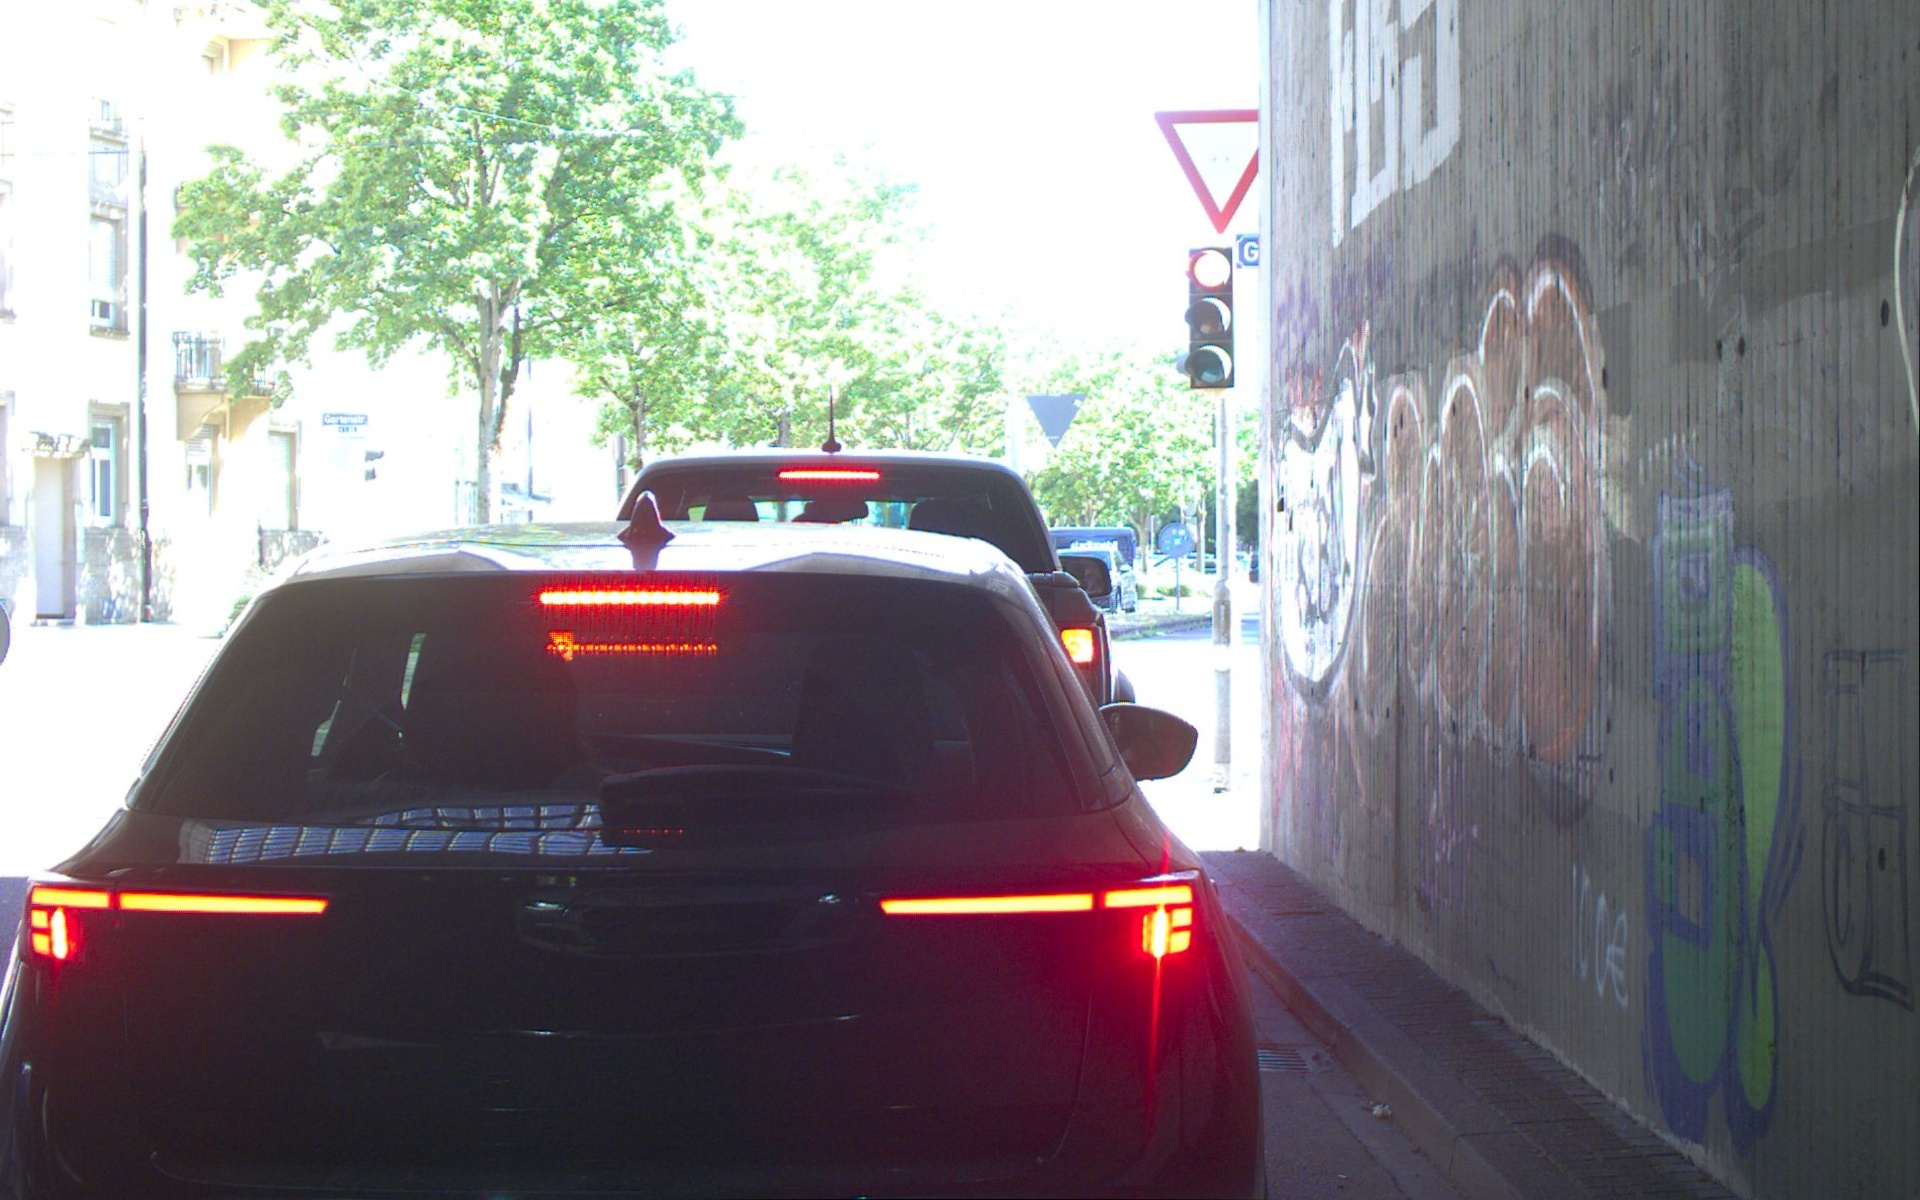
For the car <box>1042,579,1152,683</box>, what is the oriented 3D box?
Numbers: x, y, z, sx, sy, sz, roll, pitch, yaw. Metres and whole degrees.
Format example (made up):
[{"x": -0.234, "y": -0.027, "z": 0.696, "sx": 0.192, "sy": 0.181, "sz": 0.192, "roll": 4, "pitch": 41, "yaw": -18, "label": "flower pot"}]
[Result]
[{"x": 2.757, "y": 0.583, "z": 68.439, "sx": 1.994, "sy": 1.963, "sz": 4.163, "roll": 1, "pitch": 1, "yaw": 5, "label": "car"}]

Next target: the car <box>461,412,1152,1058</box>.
[{"x": -0.466, "y": 0.354, "z": 11.991, "sx": 1.993, "sy": 1.865, "sz": 4.000, "roll": 0, "pitch": 1, "yaw": -1, "label": "car"}]

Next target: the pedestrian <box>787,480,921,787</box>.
[{"x": -0.606, "y": 0.186, "z": 19.861, "sx": 0.731, "sy": 1.728, "sz": 0.874, "roll": 1, "pitch": 0, "yaw": -1, "label": "pedestrian"}]

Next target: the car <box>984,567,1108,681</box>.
[{"x": 1.599, "y": 0.402, "z": 62.391, "sx": 1.994, "sy": 1.963, "sz": 4.163, "roll": 1, "pitch": 1, "yaw": 5, "label": "car"}]

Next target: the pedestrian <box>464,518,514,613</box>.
[{"x": -10.411, "y": -0.770, "z": 76.019, "sx": 0.892, "sy": 2.080, "sz": 0.808, "roll": 1, "pitch": 0, "yaw": 7, "label": "pedestrian"}]

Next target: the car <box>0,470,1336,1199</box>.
[{"x": -0.480, "y": 0.570, "z": 5.993, "sx": 1.764, "sy": 1.566, "sz": 4.001, "roll": 1, "pitch": 2, "yaw": -1, "label": "car"}]
